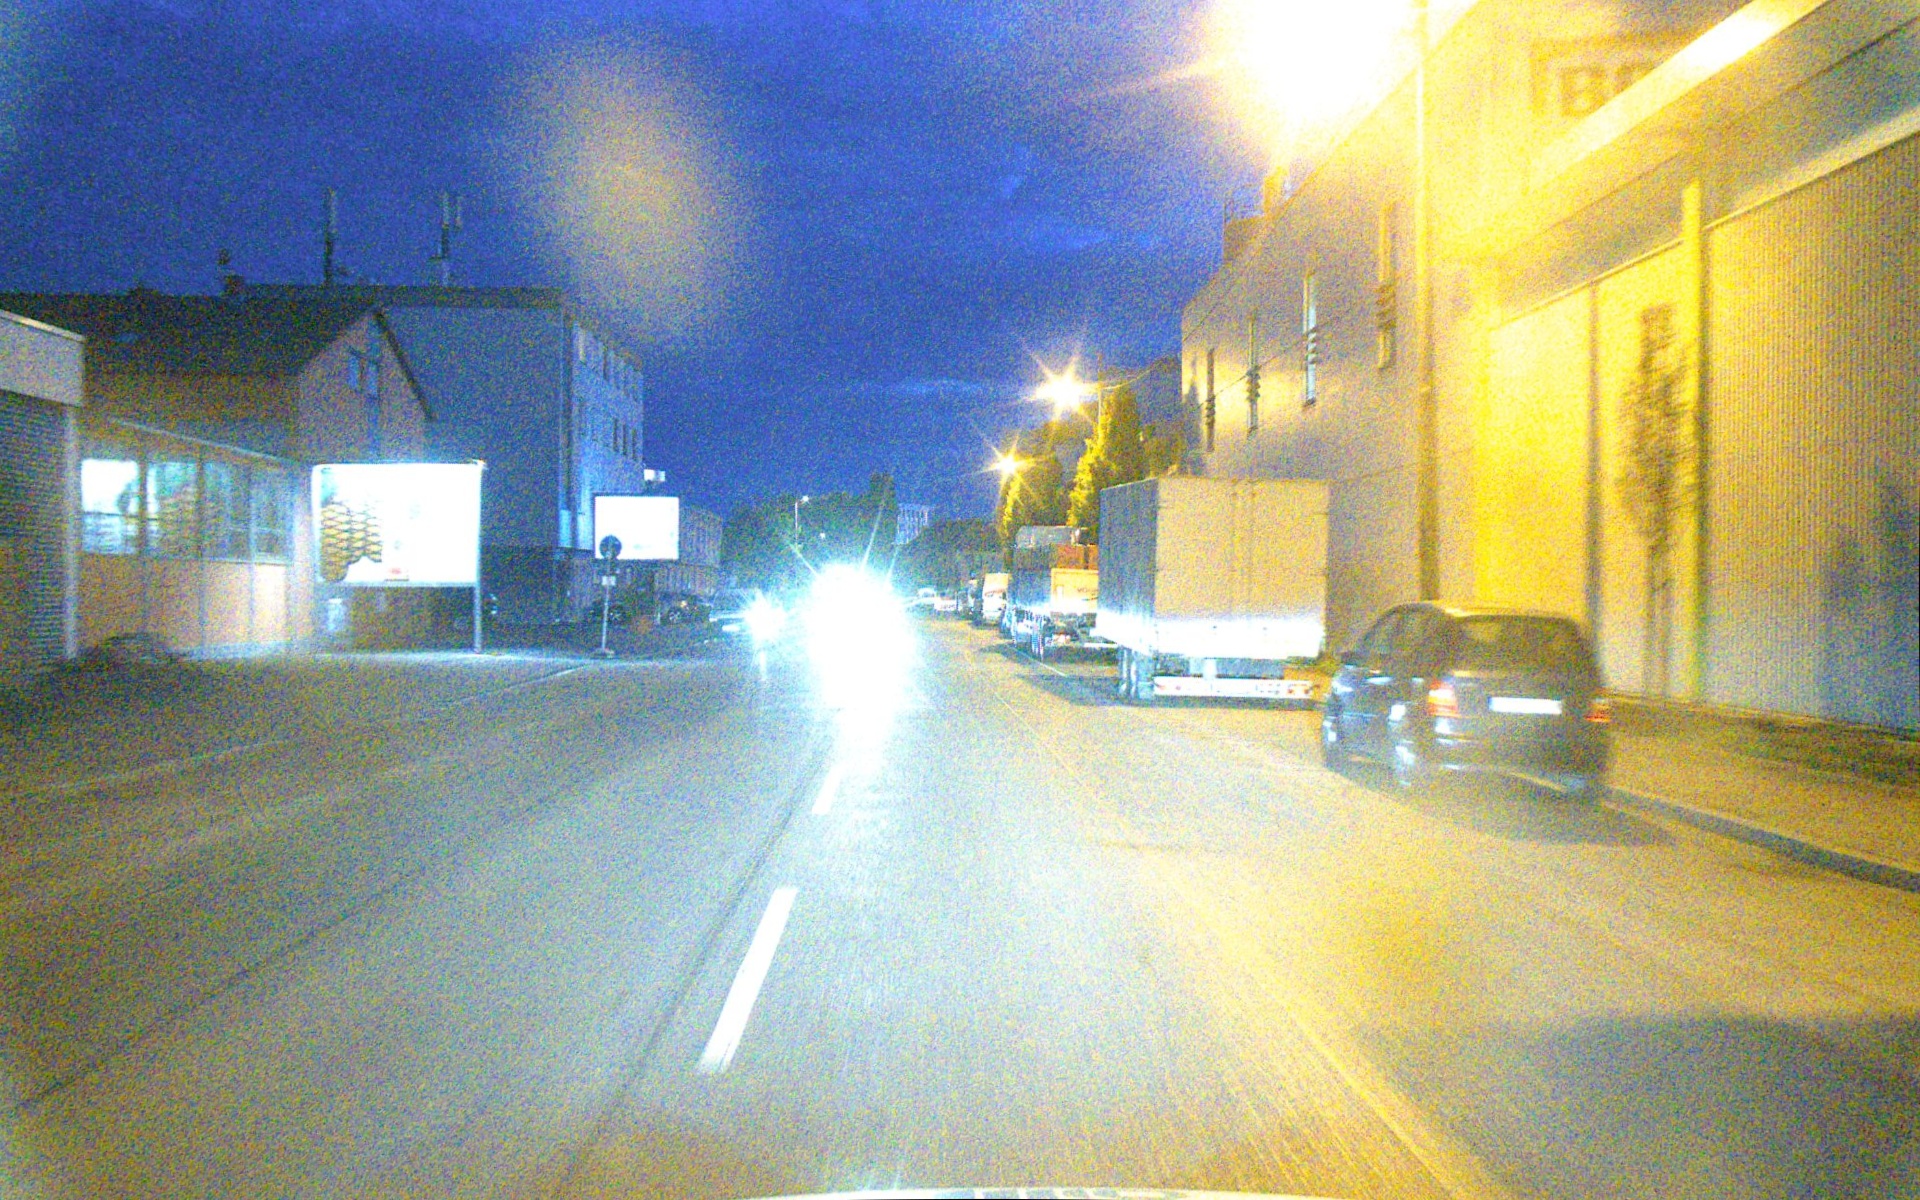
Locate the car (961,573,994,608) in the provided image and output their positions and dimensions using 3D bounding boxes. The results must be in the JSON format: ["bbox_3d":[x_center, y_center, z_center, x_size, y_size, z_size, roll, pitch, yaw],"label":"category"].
[{"bbox_3d":[1.102,-0.577,105.086,1.953,2.183,3.999,0,0,-1],"label":"car"}]

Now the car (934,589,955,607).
[{"bbox_3d":[-1.444,-0.207,155.382,1.953,1.713,3.999,0,0,-1],"label":"car"}]

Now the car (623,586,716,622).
[{"bbox_3d":[-13.876,0.207,78.981,3.941,1.622,1.982,-1,0,-28],"label":"car"}]

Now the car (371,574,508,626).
[{"bbox_3d":[-16.983,0.003,54.125,3.908,1.680,1.998,0,0,-4],"label":"car"}]

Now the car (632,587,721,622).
[{"bbox_3d":[-14.056,0.228,81.935,3.941,1.622,1.982,-1,0,-28],"label":"car"}]

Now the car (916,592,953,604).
[{"bbox_3d":[-3.080,-0.218,199.877,4.437,1.404,2.000,0,0,2],"label":"car"}]

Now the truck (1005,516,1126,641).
[{"bbox_3d":[3.124,-0.609,50.834,3.087,3.524,6.671,-1,0,-1],"label":"truck"}]

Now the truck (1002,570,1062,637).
[{"bbox_3d":[2.695,0.110,62.988,1.953,2.449,5.291,0,0,-1],"label":"truck"}]

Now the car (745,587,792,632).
[{"bbox_3d":[-7.830,0.378,67.911,1.645,1.766,4.353,0,0,-3],"label":"car"}]

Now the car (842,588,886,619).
[{"bbox_3d":[-4.534,0.154,78.907,1.953,1.422,3.999,0,0,-1],"label":"car"}]

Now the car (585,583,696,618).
[{"bbox_3d":[-14.197,0.005,73.553,4.553,1.511,1.985,0,0,-24],"label":"car"}]

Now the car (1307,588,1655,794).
[{"bbox_3d":[4.434,0.715,14.701,1.815,1.545,3.817,-1,0,-1],"label":"car"}]

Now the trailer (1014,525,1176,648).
[{"bbox_3d":[3.307,-0.282,43.694,3.120,2.797,10.711,-1,0,-1],"label":"trailer"}]

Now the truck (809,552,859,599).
[{"bbox_3d":[-10.290,-1.903,134.325,3.816,3.685,8.248,0,0,-7],"label":"truck"}]

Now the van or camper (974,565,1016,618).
[{"bbox_3d":[1.765,-0.438,84.597,1.953,2.627,4.914,0,0,-1],"label":"van or camper"}]

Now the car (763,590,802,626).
[{"bbox_3d":[-8.879,0.399,82.918,1.860,1.766,4.350,0,0,-6],"label":"car"}]

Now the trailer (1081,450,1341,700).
[{"bbox_3d":[3.861,-0.325,27.384,2.633,3.525,7.803,0,0,-4],"label":"trailer"}]

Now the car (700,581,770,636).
[{"bbox_3d":[-7.718,0.281,57.023,1.953,1.825,3.999,0,0,-1],"label":"car"}]
